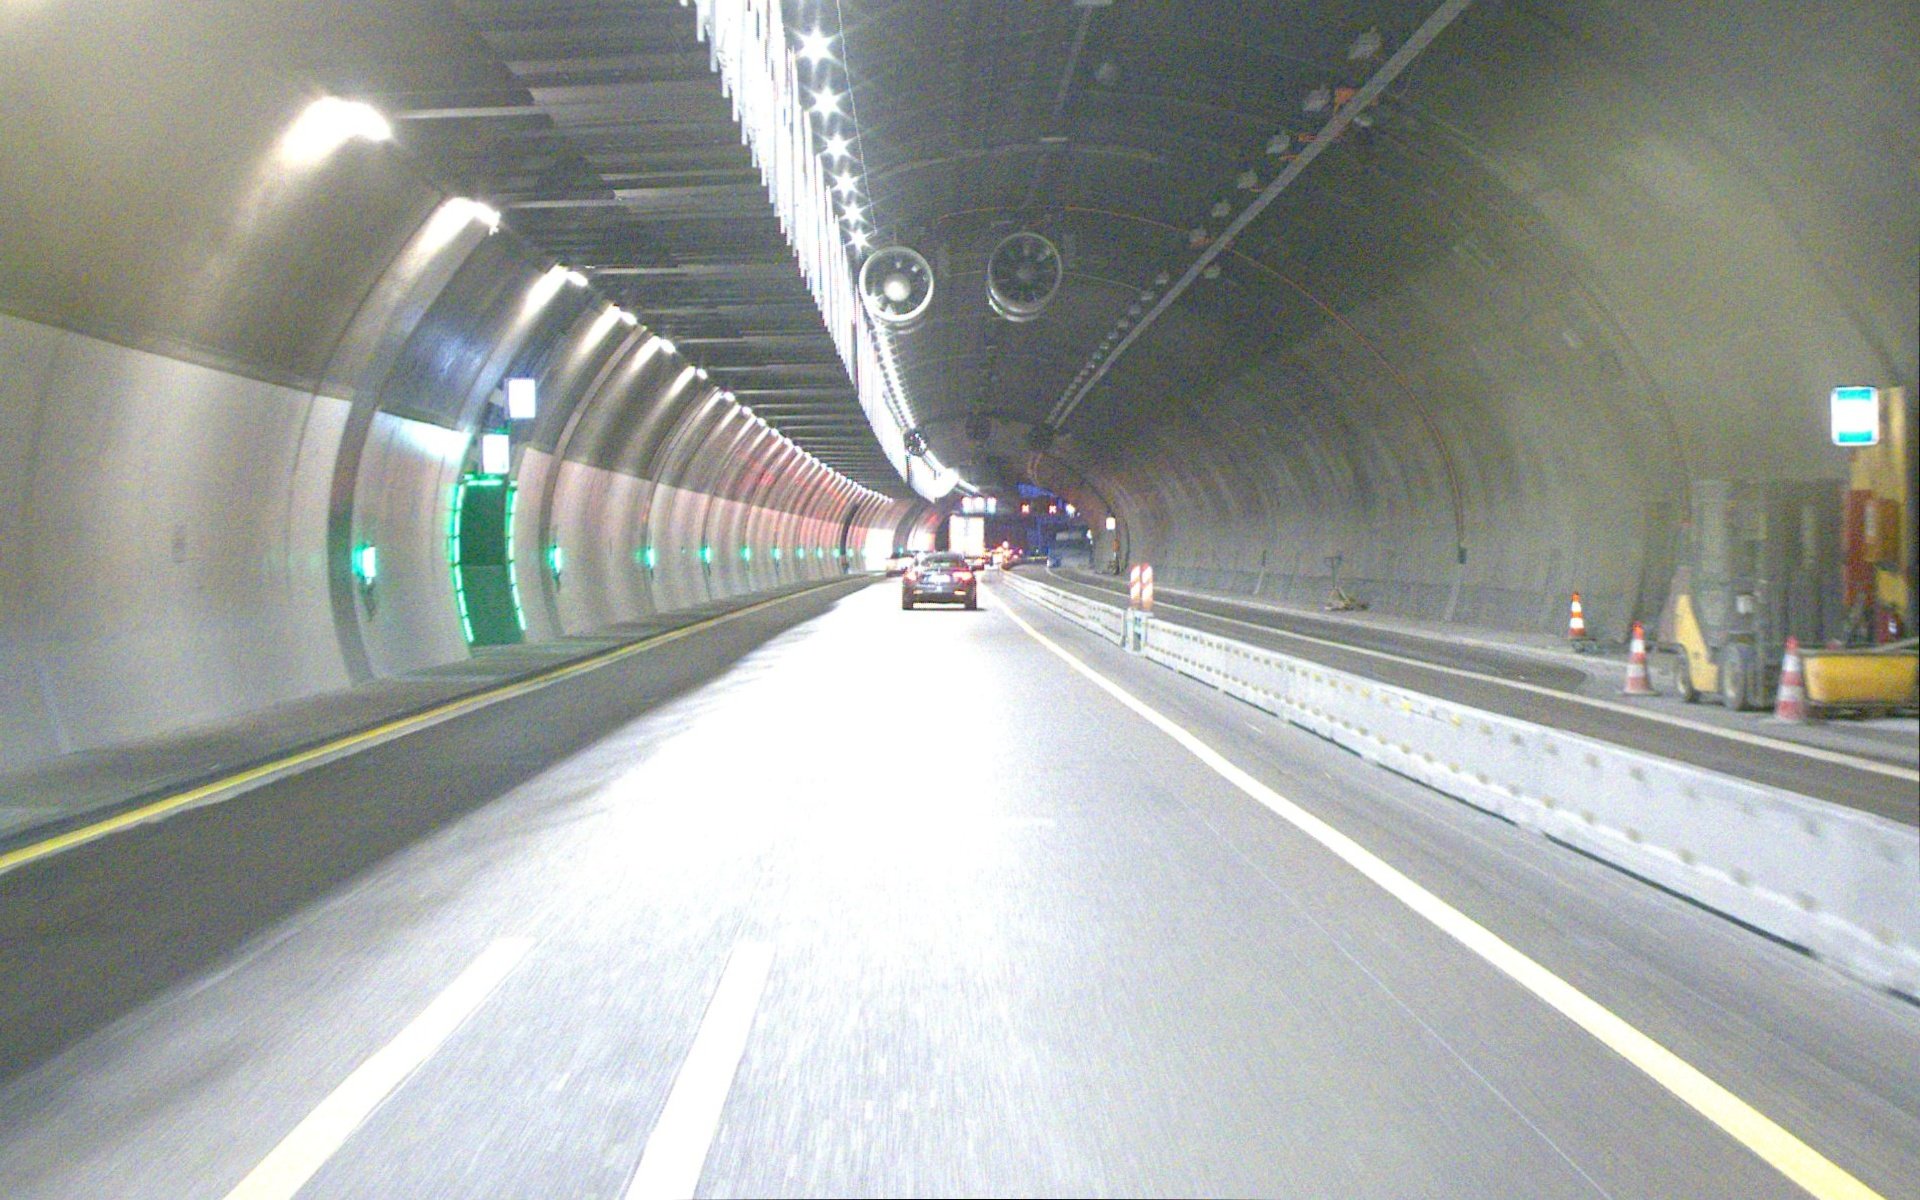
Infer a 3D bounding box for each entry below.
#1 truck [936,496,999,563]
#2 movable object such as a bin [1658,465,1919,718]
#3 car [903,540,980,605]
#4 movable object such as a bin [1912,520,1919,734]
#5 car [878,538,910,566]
[{"bbox_3d":[0.629,-5.318,261.339,4.546,4.970,9.598,0,1,2],"label":"truck"},{"bbox_3d":[7.735,-0.094,31.438,1.683,2.138,4.628,0,1,-1],"label":"movable object such as a bin"},{"bbox_3d":[-0.490,-0.689,86.981,1.887,1.601,4.000,0,1,-1],"label":"car"},{"bbox_3d":[8.427,0.230,26.004,1.556,1.703,3.055,0,1,-1],"label":"movable object such as a bin"},{"bbox_3d":[-3.829,-2.752,199.357,1.827,1.601,4.000,0,1,-1],"label":"car"}]
